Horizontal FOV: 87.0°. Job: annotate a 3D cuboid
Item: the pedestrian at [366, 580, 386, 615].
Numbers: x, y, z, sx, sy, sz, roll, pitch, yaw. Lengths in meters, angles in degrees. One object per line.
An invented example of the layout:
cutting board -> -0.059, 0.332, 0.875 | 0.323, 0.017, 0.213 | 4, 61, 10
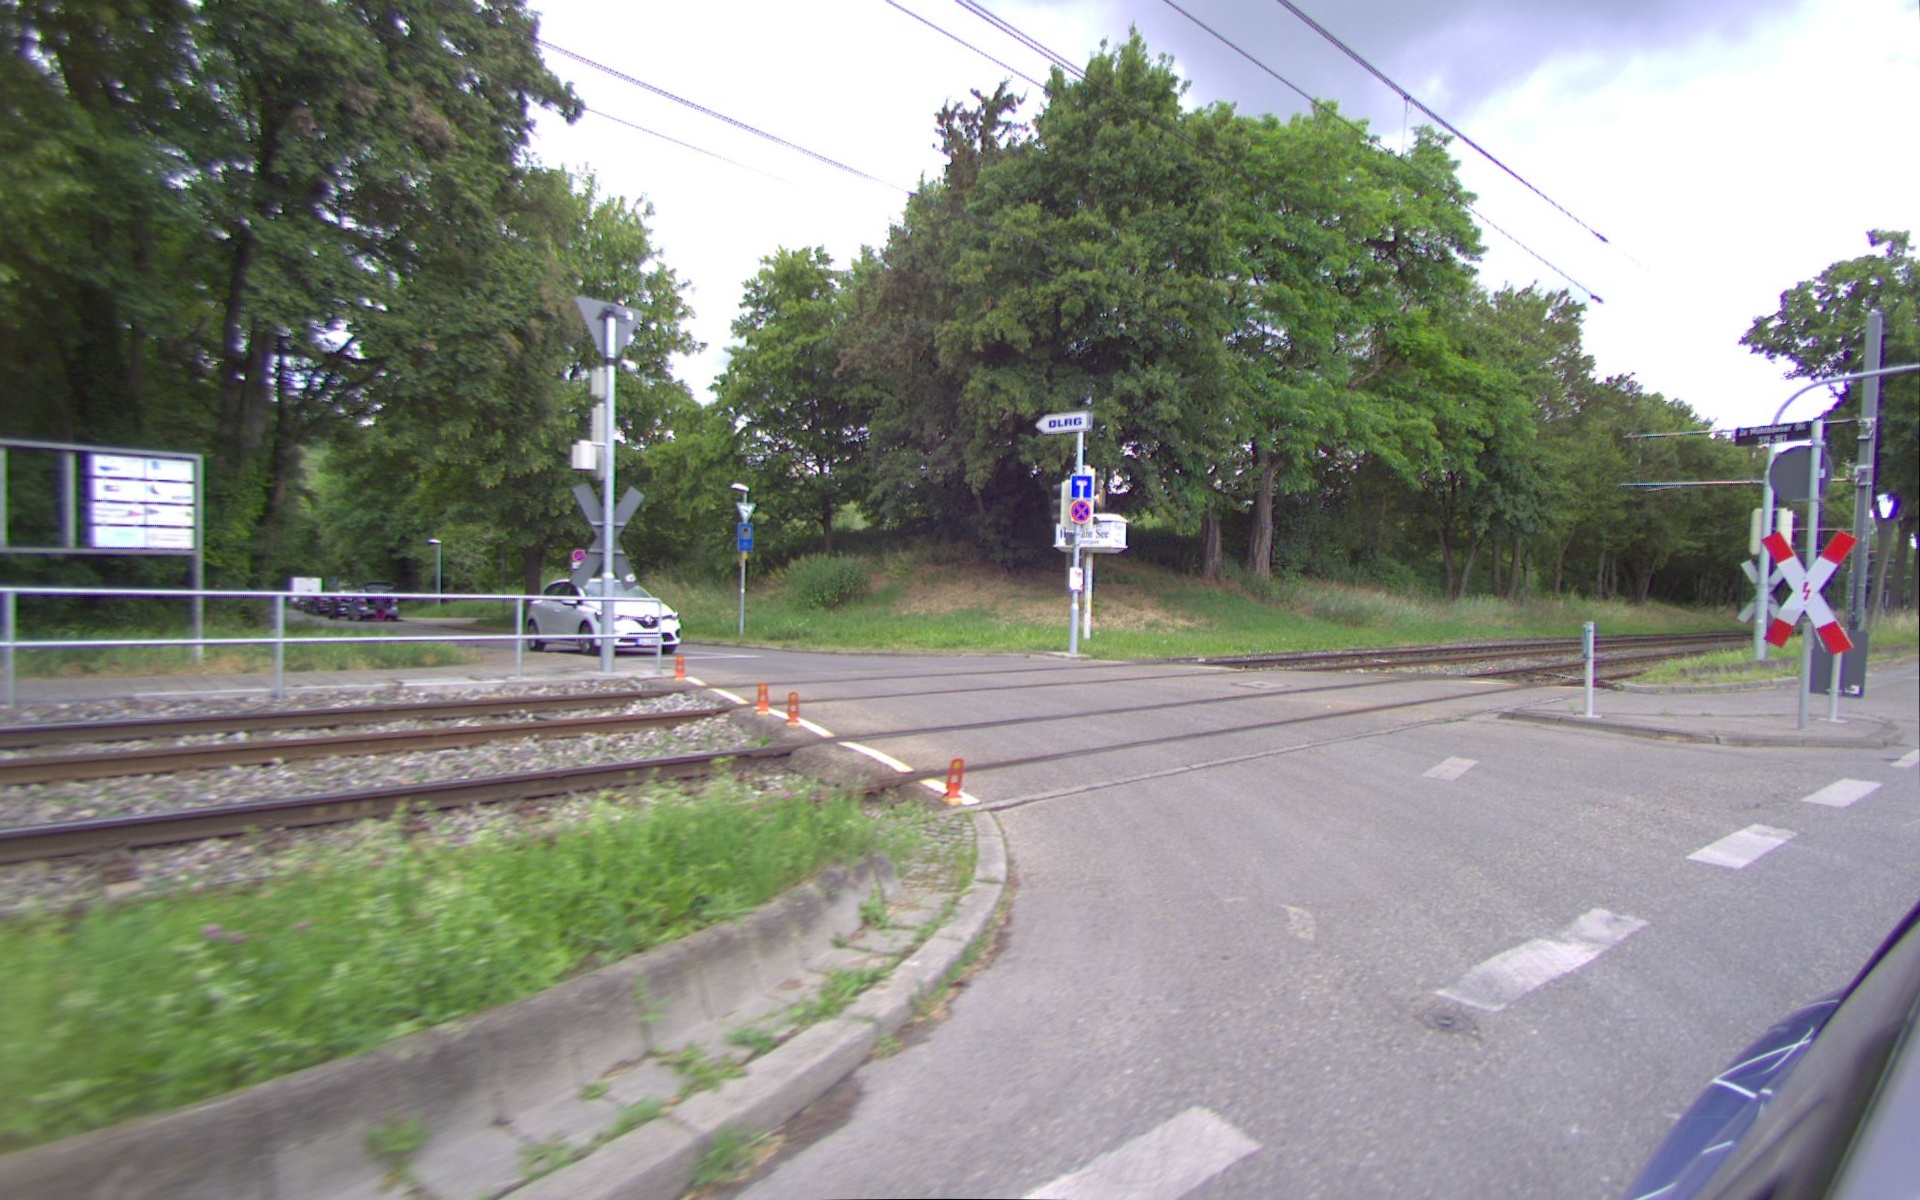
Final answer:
pedestrian -> -28.262, -0.108, 49.002 | 0.713, 1.688, 0.645 | 1, -1, -43

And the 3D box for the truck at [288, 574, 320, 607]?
truck -> -62.578, -0.865, 96.416 | 2.371, 2.976, 7.265 | 1, 0, -34

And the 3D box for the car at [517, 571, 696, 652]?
car -> -6.863, 0.202, 19.438 | 1.756, 1.402, 3.990 | 1, -1, -44

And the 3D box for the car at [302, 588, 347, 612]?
car -> -41.089, -0.008, 65.395 | 1.769, 1.529, 3.992 | 1, 0, -42

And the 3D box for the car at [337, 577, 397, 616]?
car -> -29.479, -0.176, 50.264 | 1.774, 1.851, 3.992 | 1, 0, -42
